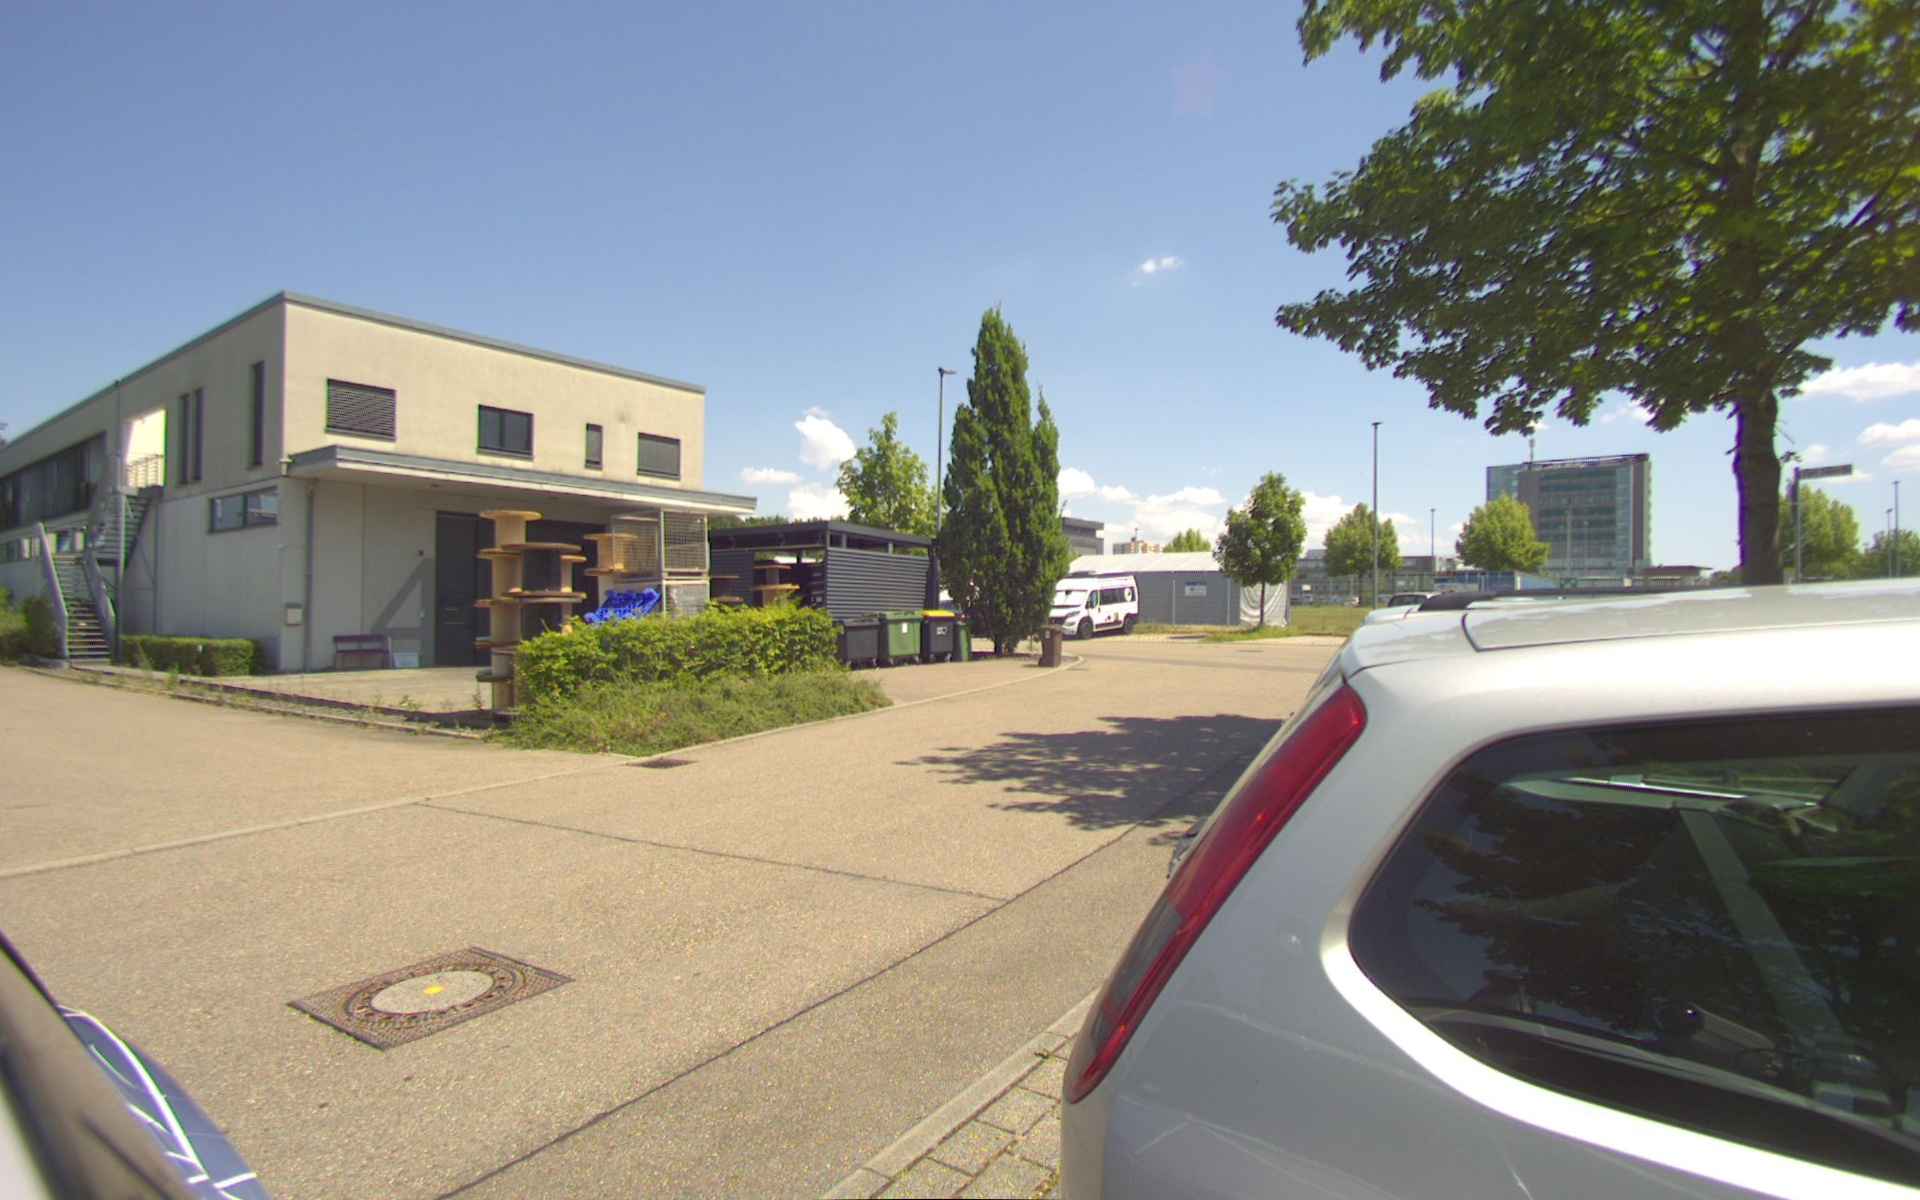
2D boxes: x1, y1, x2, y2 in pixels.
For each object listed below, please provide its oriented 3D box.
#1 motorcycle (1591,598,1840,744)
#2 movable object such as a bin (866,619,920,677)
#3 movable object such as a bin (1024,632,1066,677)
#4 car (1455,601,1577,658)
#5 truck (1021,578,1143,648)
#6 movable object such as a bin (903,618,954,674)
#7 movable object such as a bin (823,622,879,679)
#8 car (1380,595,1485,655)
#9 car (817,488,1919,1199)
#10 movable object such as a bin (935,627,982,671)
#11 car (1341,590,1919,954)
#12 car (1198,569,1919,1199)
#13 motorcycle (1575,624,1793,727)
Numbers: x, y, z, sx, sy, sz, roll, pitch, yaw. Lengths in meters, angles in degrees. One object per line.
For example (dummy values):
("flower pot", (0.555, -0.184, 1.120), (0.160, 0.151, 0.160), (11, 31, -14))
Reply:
("motorcycle", (7.702, 0.700, 10.437), (1.982, 1.400, 0.479), (-2, -1, 31))
("movable object such as a bin", (-1.621, 1.152, 24.472), (0.760, 1.346, 1.058), (-1, -1, 43))
("movable object such as a bin", (1.917, 1.222, 22.869), (0.760, 0.977, 0.582), (-1, -1, 43))
("car", (16.097, 0.814, 29.258), (3.935, 1.533, 1.656), (0, -1, -38))
("truck", (5.142, 0.530, 41.956), (2.416, 2.692, 5.624), (-1, -1, 38))
("movable object such as a bin", (-0.800, 1.138, 25.526), (0.760, 1.346, 1.058), (-1, -1, 43))
("movable object such as a bin", (-2.533, 1.167, 23.639), (0.760, 1.280, 1.058), (-1, -1, 43))
("car", (14.654, 0.736, 31.314), (1.773, 1.751, 3.942), (-1, -1, 44))
("car", (2.114, 0.663, 0.587), (4.336, 1.490, 1.705), (-1, -1, 34))
("movable object such as a bin", (-0.035, 1.250, 26.306), (0.760, 1.092, 0.974), (-1, -1, 43))
("car", (4.039, 0.696, 4.910), (3.877, 1.459, 1.635), (-1, -1, 31))
("car", (2.807, 0.675, 2.812), (3.877, 1.490, 1.635), (-1, -1, 31))
("motorcycle", (8.305, 0.847, 11.713), (1.982, 1.117, 0.479), (-2, -1, 31))
